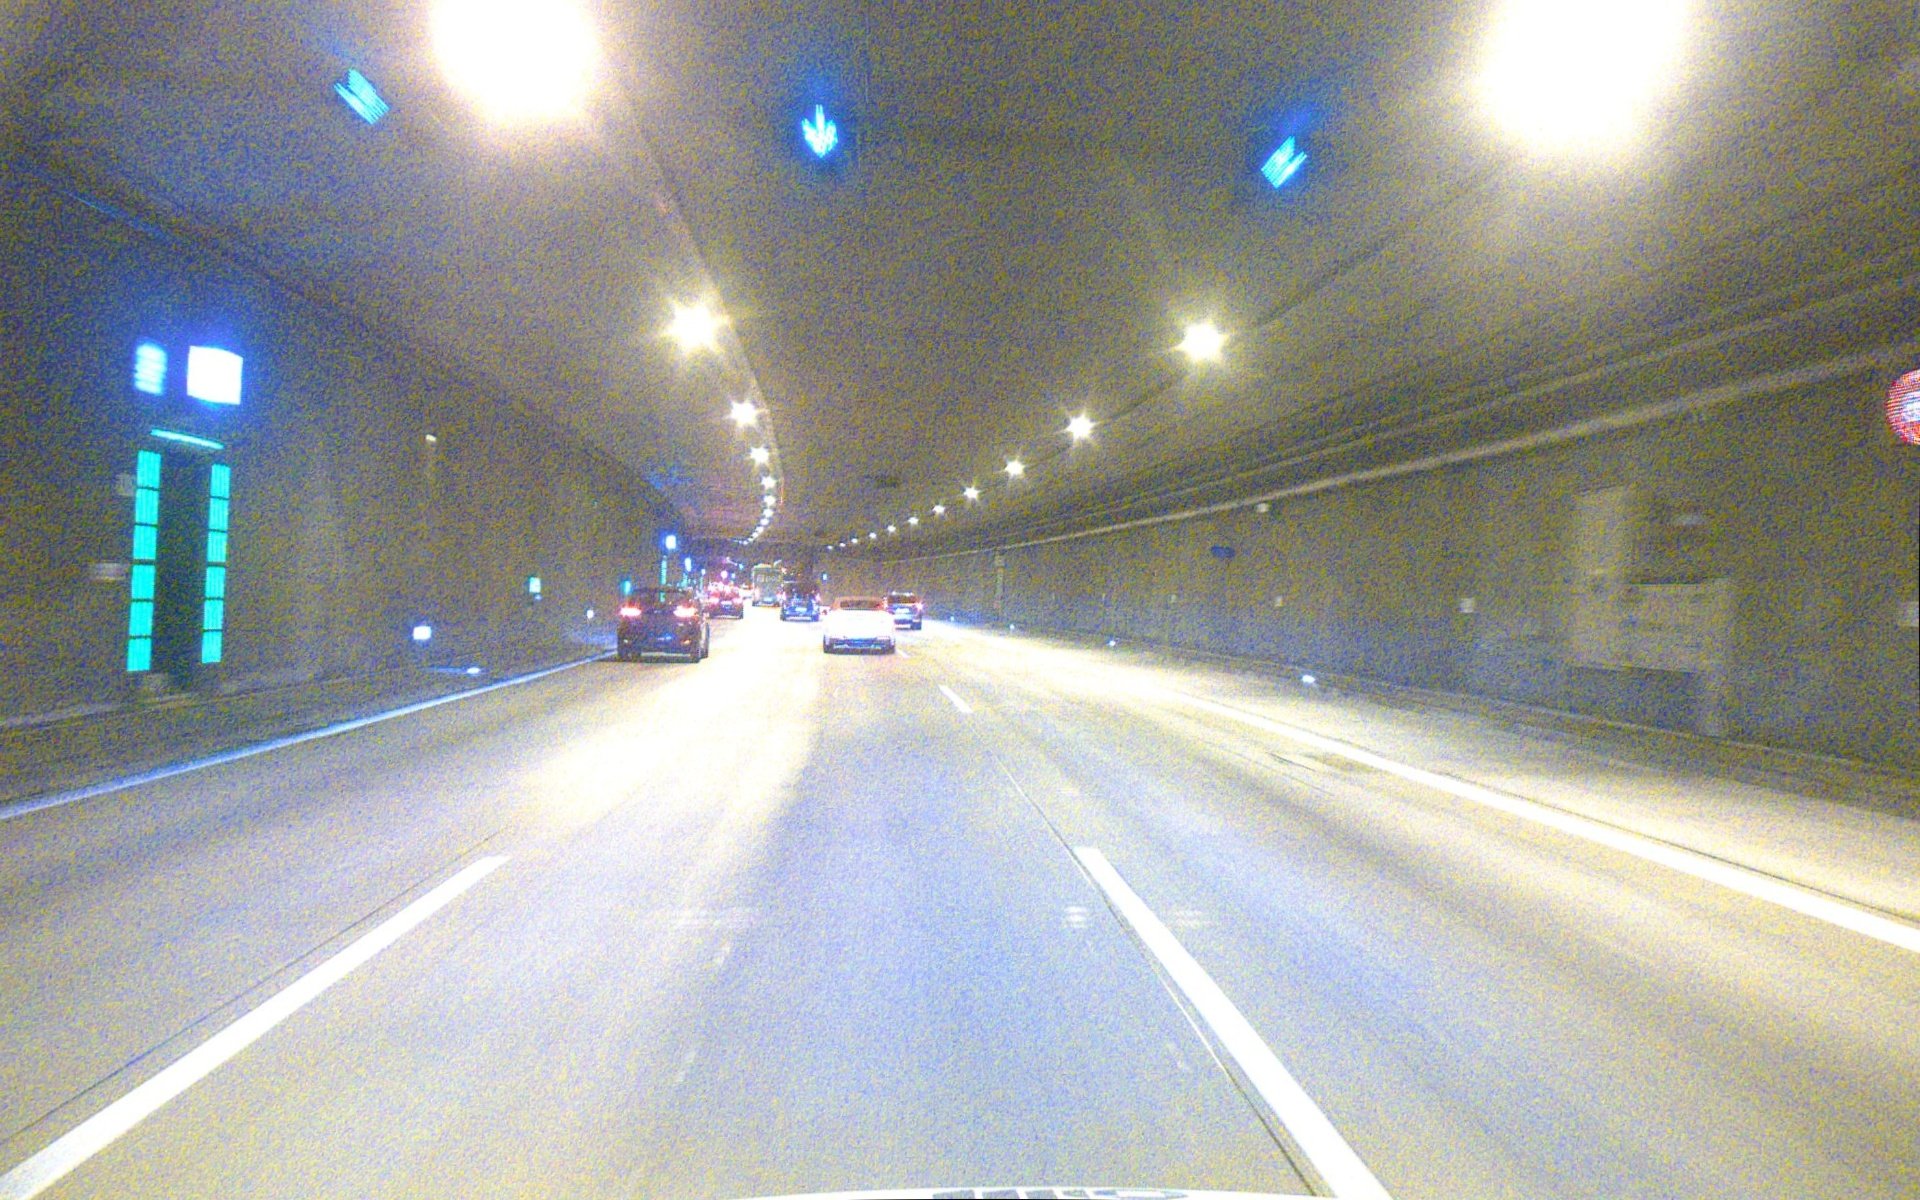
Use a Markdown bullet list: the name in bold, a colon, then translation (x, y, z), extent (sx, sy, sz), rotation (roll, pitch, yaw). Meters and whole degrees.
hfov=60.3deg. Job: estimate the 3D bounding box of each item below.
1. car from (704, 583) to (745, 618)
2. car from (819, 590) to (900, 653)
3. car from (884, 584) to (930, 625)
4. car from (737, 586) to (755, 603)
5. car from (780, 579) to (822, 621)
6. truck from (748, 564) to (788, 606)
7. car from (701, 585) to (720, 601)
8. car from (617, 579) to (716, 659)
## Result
- **car**: translation (-11.893, 0.016, 83.856), extent (1.765, 1.713, 3.996), rotation (1, 0, -4)
- **car**: translation (-2.557, 0.509, 42.238), extent (1.954, 1.509, 3.997), rotation (1, 0, -3)
- **car**: translation (-2.213, 0.177, 68.032), extent (1.803, 1.630, 3.998), rotation (0, 0, -3)
- **car**: translation (-24.259, -0.604, 187.763), extent (1.955, 1.785, 3.994), rotation (2, 0, -7)
- **car**: translation (-7.788, -0.022, 81.344), extent (1.955, 2.006, 3.996), rotation (1, 0, -5)
- **truck**: translation (-15.786, -1.284, 135.512), extent (3.025, 3.167, 10.012), rotation (2, 1, -8)
- **car**: translation (-26.350, -0.721, 174.622), extent (1.956, 1.557, 3.992), rotation (2, 0, -9)
- **car**: translation (-6.330, 0.389, 36.000), extent (1.750, 1.626, 3.797), rotation (1, 0, -5)
